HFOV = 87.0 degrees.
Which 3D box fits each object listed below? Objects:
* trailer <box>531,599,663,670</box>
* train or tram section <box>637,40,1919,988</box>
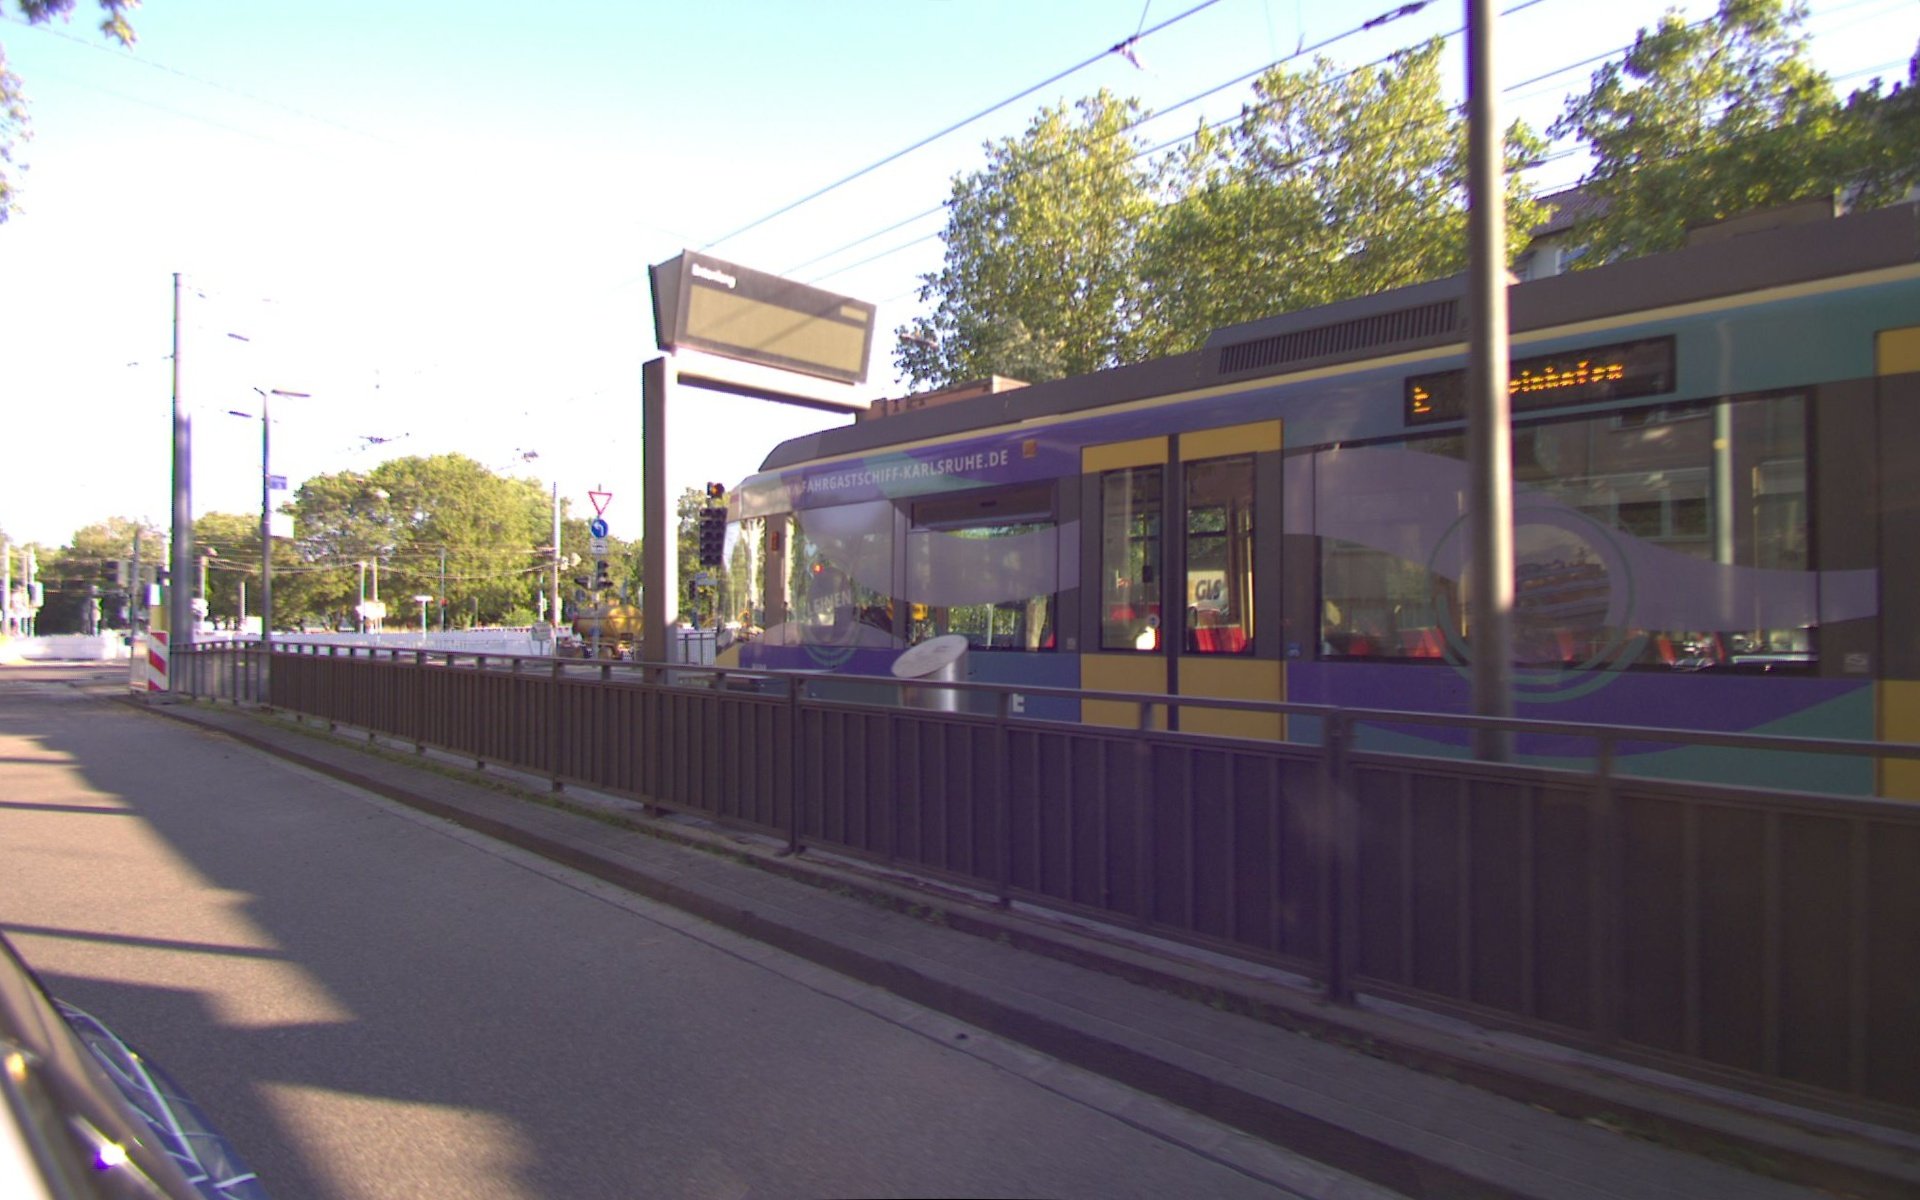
[{"bbox_3d":[-11.692,1.047,32.503,4.339,2.131,1.975,0,-1,37],"label":"trailer"},{"bbox_3d":[2.281,-0.253,7.095,13.402,3.560,2.817,-2,-2,45],"label":"train or tram section"}]
